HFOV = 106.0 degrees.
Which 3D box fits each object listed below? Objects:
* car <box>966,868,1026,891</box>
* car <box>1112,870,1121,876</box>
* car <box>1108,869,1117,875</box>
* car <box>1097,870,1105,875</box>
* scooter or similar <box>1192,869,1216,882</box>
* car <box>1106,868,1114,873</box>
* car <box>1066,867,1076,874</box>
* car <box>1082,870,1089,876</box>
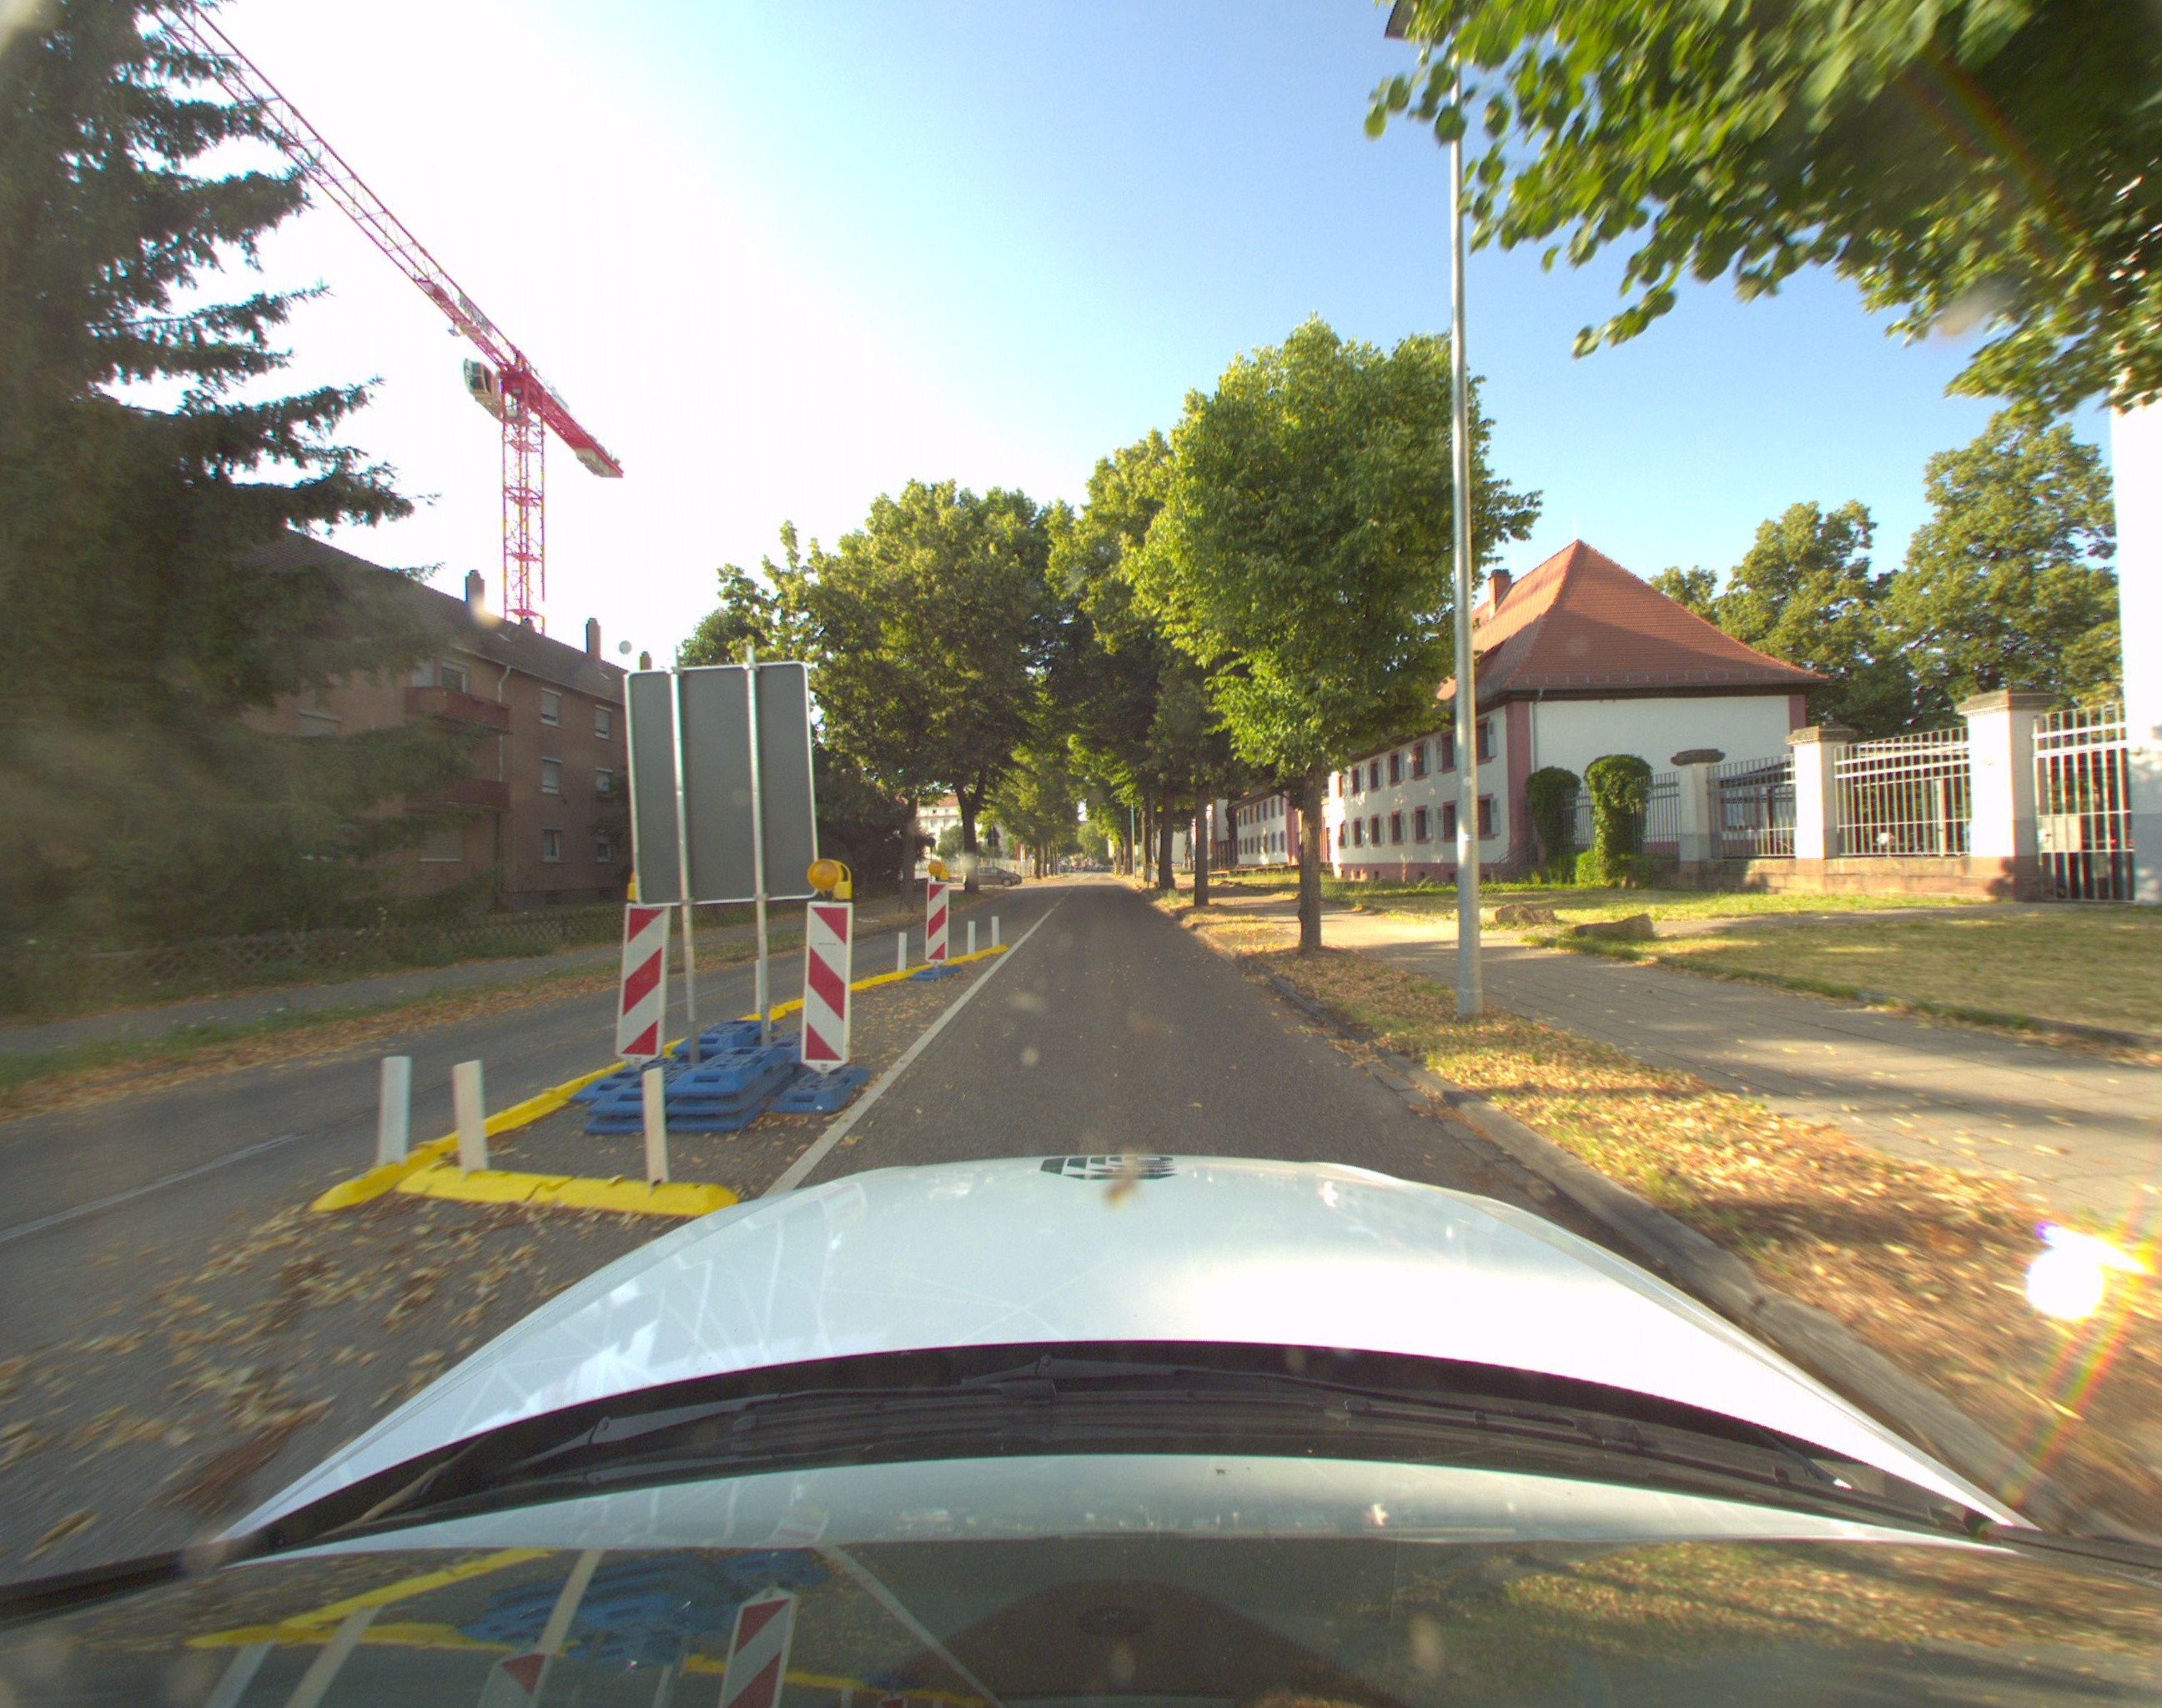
[{"bbox_3d":[-5.782,1.722,55.654,3.828,1.473,1.652,-2,-1,3],"label":"car"},{"bbox_3d":[7.467,4.031,172.976,1.835,1.261,4.000,-2,-2,1],"label":"car"},{"bbox_3d":[7.086,4.116,183.690,1.834,1.261,4.002,-1,-1,2],"label":"car"},{"bbox_3d":[5.487,4.972,219.986,1.837,1.386,3.996,-2,-2,-2],"label":"car"},{"bbox_3d":[7.456,1.315,49.456,1.221,0.548,1.064,-10,-1,0],"label":"scooter or similar"},{"bbox_3d":[6.829,3.871,190.841,1.835,1.261,4.000,-2,-2,1],"label":"car"},{"bbox_3d":[-2.404,3.947,196.139,1.990,1.688,3.993,-2,-2,-5],"label":"car"},{"bbox_3d":[1.350,5.583,239.486,1.710,1.486,3.996,-3,-2,-2],"label":"car"}]
